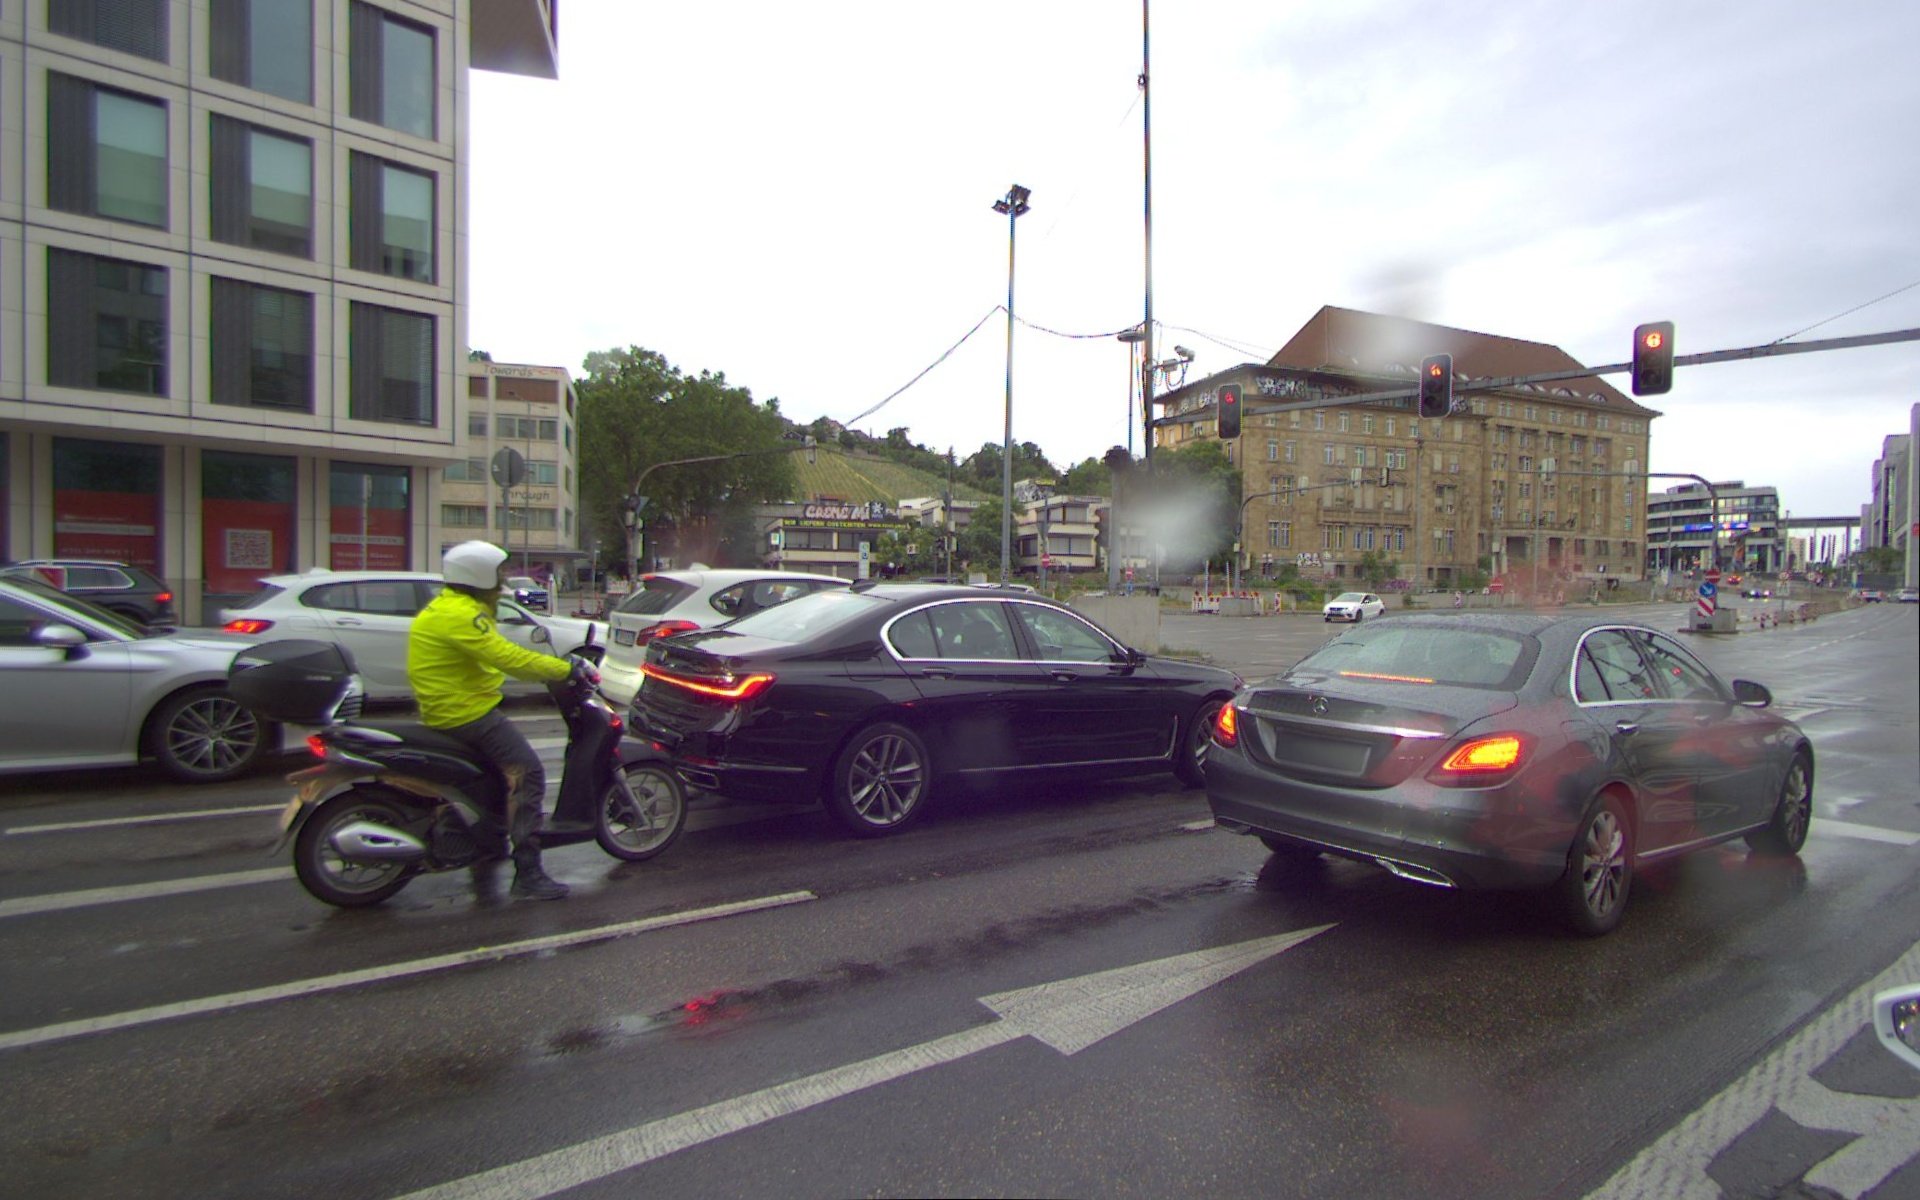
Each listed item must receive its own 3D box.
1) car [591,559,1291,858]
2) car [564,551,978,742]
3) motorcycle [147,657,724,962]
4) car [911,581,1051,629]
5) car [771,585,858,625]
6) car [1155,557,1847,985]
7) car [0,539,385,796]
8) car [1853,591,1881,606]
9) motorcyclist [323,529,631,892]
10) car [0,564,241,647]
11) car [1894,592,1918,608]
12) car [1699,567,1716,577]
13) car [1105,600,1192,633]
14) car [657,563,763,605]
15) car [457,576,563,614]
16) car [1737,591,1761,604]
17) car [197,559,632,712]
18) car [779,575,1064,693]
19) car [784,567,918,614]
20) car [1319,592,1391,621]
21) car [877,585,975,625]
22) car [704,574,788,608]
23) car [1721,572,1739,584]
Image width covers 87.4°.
[{"bbox_3d":[0.103,0.580,7.377,4.955,1.535,1.873,2,1,-37],"label":"car"},{"bbox_3d":[-1.851,0.425,10.632,3.972,1.637,1.716,2,1,-43],"label":"car"},{"bbox_3d":[-2.390,0.832,4.794,2.277,1.002,0.933,1,1,-42],"label":"motorcycle"},{"bbox_3d":[0.698,0.159,30.439,4.164,1.277,1.751,2,1,-43],"label":"car"},{"bbox_3d":[-6.635,0.225,45.568,3.939,1.617,1.668,3,1,40],"label":"car"},{"bbox_3d":[3.351,0.691,5.843,4.444,1.621,1.770,2,1,-36],"label":"car"},{"bbox_3d":[-6.583,0.359,6.516,4.756,1.541,1.817,2,1,-37],"label":"car"},{"bbox_3d":[108.187,-0.156,119.826,1.967,1.662,3.987,3,1,35],"label":"car"},{"bbox_3d":[-2.327,0.455,4.842,1.092,1.495,0.933,2,1,-41],"label":"motorcyclist"},{"bbox_3d":[-16.292,0.126,19.225,3.928,1.443,1.681,2,-1,-43],"label":"car"},{"bbox_3d":[112.072,0.010,119.039,1.706,1.662,3.419,3,4,38],"label":"car"},{"bbox_3d":[153.196,-5.817,205.901,1.963,1.840,3.996,3,1,26],"label":"car"},{"bbox_3d":[8.087,0.727,42.889,4.052,1.277,1.607,2,1,-45],"label":"car"},{"bbox_3d":[-11.238,-0.709,45.108,4.369,1.671,1.998,3,1,27],"label":"car"},{"bbox_3d":[-22.294,-0.254,49.788,4.940,1.762,1.999,1,0,24],"label":"car"},{"bbox_3d":[106.155,-0.377,135.124,1.635,1.617,3.612,3,1,25],"label":"car"},{"bbox_3d":[-5.909,0.360,11.101,3.957,1.391,1.770,2,1,-37],"label":"car"},{"bbox_3d":[-0.578,0.522,15.584,4.021,1.621,1.776,2,1,-27],"label":"car"},{"bbox_3d":[-3.335,-0.288,31.212,3.974,1.277,1.607,2,1,-45],"label":"car"},{"bbox_3d":[19.751,0.314,50.187,3.971,1.277,1.751,2,1,-43],"label":"car"},{"bbox_3d":[-1.657,0.245,48.619,4.318,1.684,1.996,3,1,32],"label":"car"},{"bbox_3d":[-11.788,-0.497,55.201,4.376,1.671,1.994,3,1,34],"label":"car"},{"bbox_3d":[142.494,-4.076,185.857,1.964,2.040,3.994,3,1,29],"label":"car"}]
